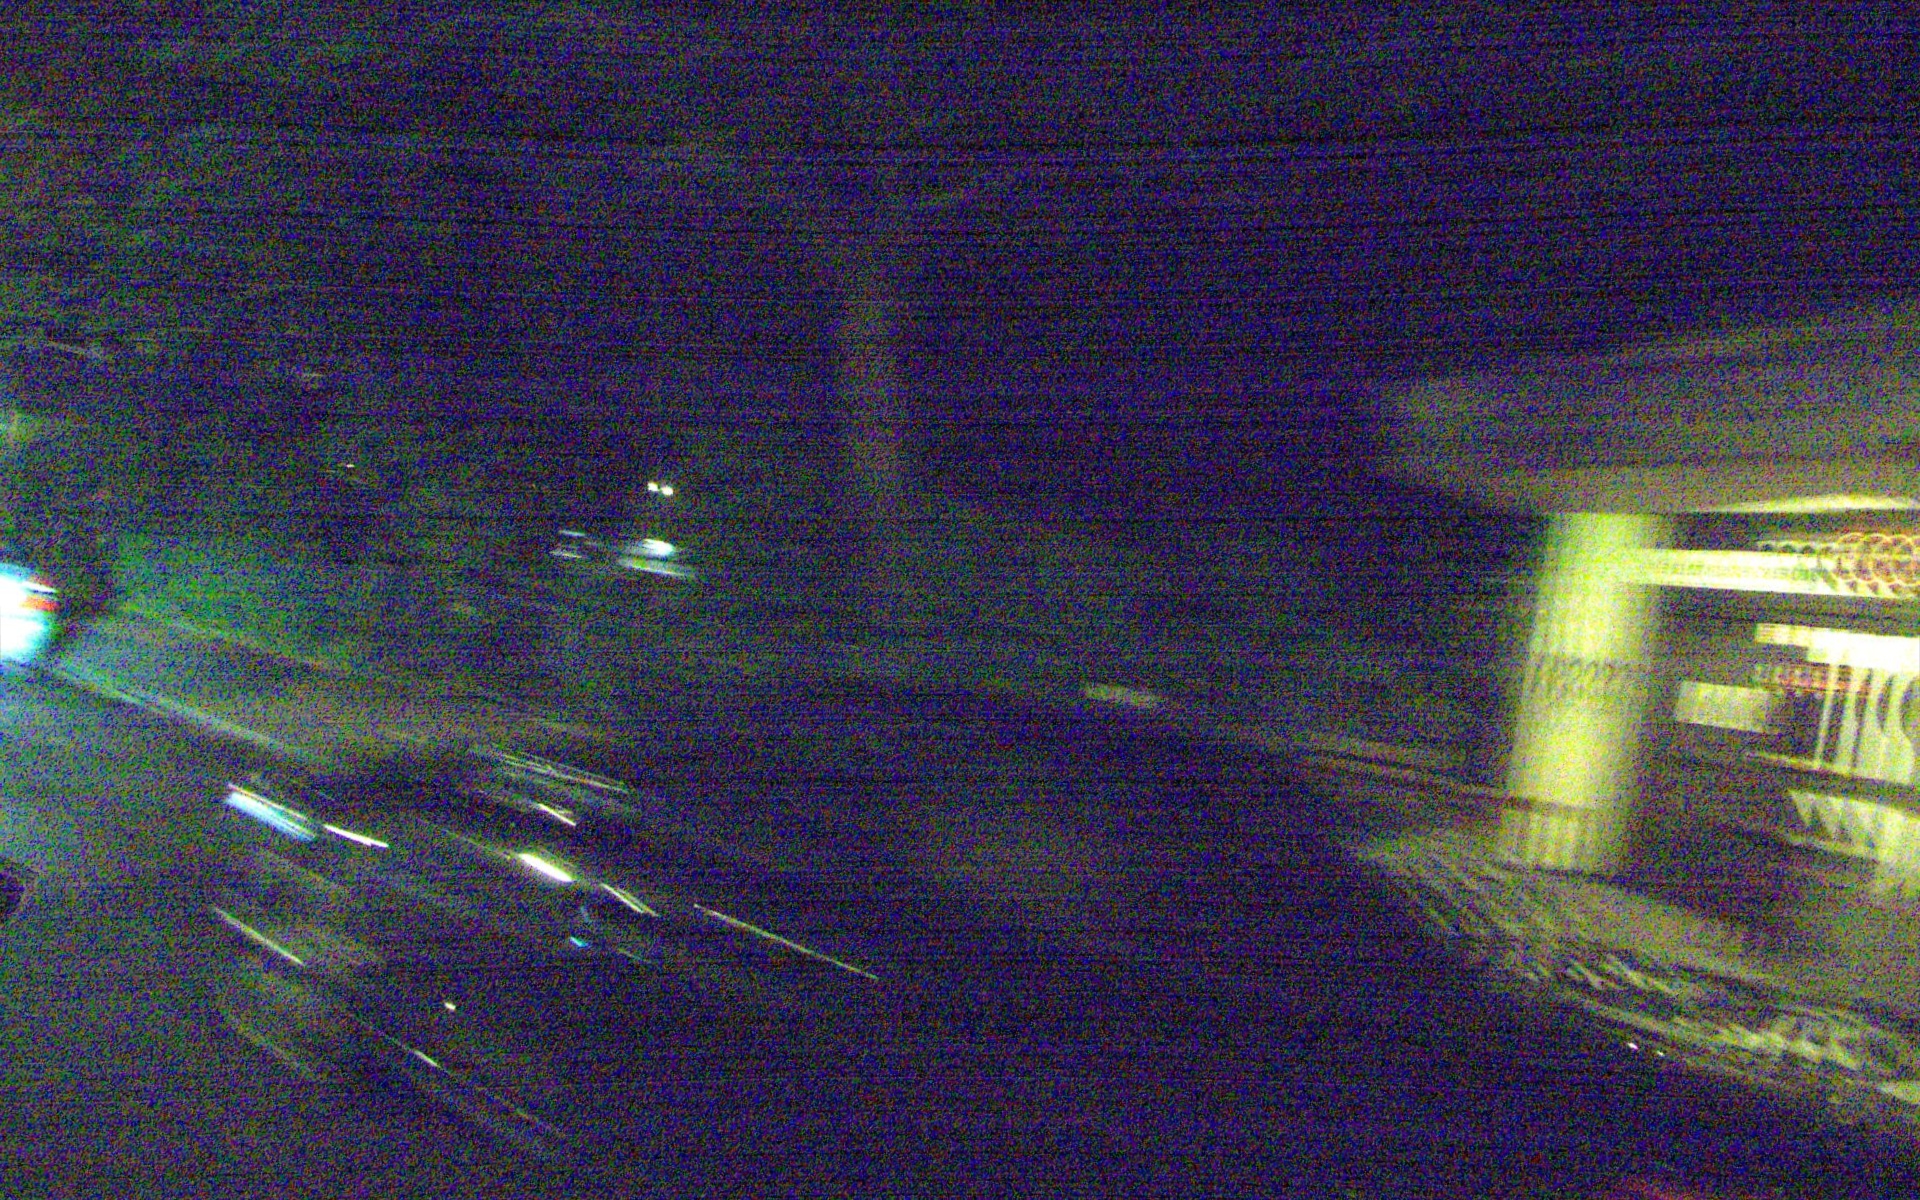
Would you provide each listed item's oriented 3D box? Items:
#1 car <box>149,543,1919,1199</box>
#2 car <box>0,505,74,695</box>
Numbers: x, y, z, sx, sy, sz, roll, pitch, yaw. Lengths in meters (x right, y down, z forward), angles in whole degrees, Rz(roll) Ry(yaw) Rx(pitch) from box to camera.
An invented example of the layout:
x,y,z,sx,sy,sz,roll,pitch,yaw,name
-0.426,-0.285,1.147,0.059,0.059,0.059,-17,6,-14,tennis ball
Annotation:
x,y,z,sx,sy,sz,roll,pitch,yaw,name
-0.174,0.843,2.847,4.365,1.432,1.766,7,-2,30,car
-9.570,-0.270,8.714,4.538,1.463,1.679,7,-3,35,car
